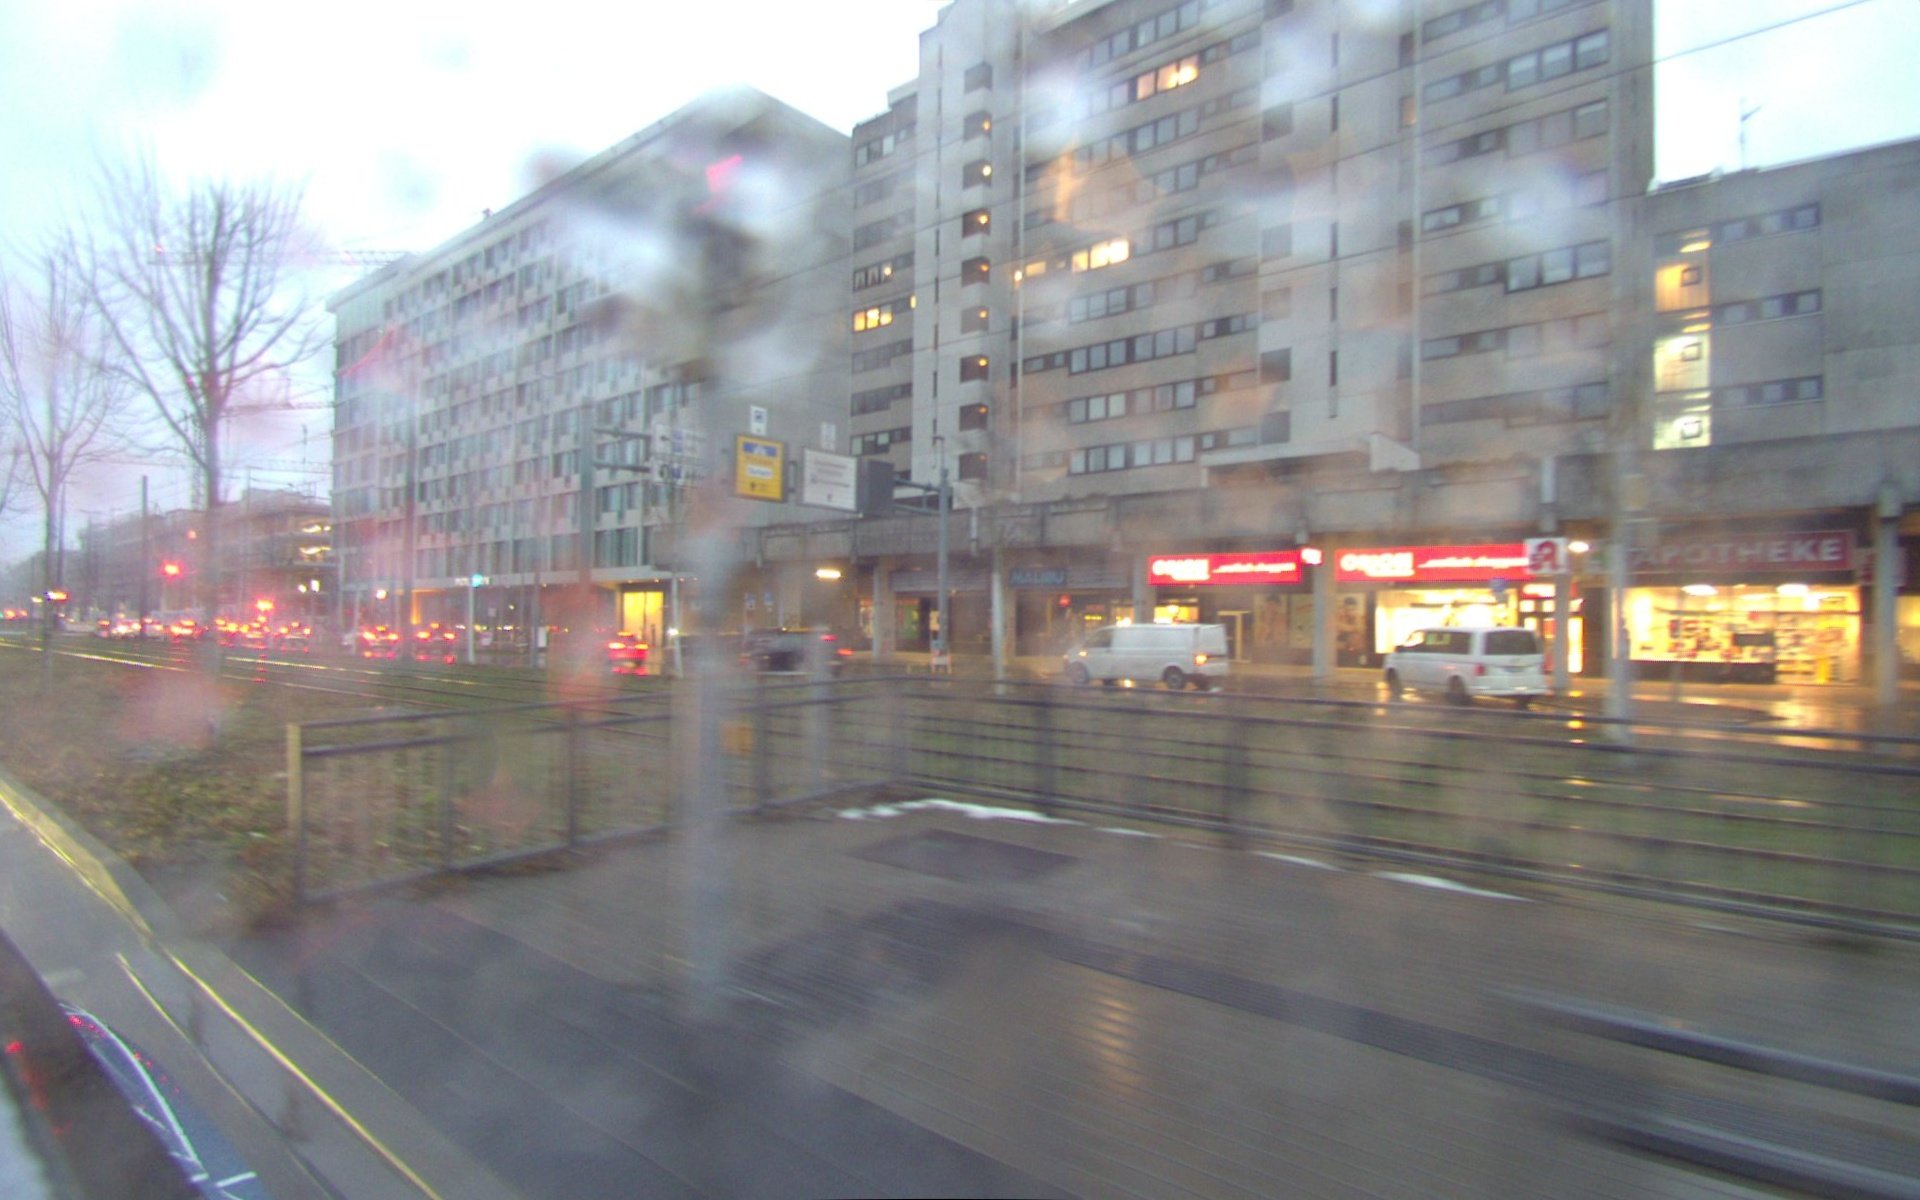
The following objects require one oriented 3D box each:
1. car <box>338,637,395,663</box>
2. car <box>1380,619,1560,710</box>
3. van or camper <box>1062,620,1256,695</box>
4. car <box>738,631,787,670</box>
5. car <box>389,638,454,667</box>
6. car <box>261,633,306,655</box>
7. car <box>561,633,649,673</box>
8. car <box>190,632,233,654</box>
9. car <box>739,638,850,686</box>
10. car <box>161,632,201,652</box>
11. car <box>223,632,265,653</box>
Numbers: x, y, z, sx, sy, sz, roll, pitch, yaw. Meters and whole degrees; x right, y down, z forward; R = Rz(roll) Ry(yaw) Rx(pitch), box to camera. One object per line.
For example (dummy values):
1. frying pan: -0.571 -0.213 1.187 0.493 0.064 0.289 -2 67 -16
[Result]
1. car: -35.634 2.961 60.696 3.870 1.460 1.732 -1 -2 40
2. car: 13.087 1.573 26.348 1.969 2.029 4.580 0 0 -7
3. van or camper: 6.013 1.684 31.153 5.651 2.113 1.973 -1 -2 41
4. car: -8.772 2.227 45.166 1.656 1.630 3.781 0 -1 -4
5. car: -29.048 2.800 54.541 3.870 1.460 1.732 -1 -2 40
6. car: -47.422 3.067 70.911 3.870 1.460 1.576 -1 -2 40
7. car: -15.068 2.208 42.894 3.887 1.523 1.732 -1 -2 40
8. car: -53.402 3.055 72.157 3.870 1.460 1.576 -1 -2 40
9. car: -5.651 2.068 34.426 3.764 1.460 1.656 -1 -2 40
10. car: -59.528 3.210 77.303 3.870 1.460 1.576 -1 -2 40
11. car: -53.839 3.164 76.075 3.870 1.460 1.576 -1 -2 40
